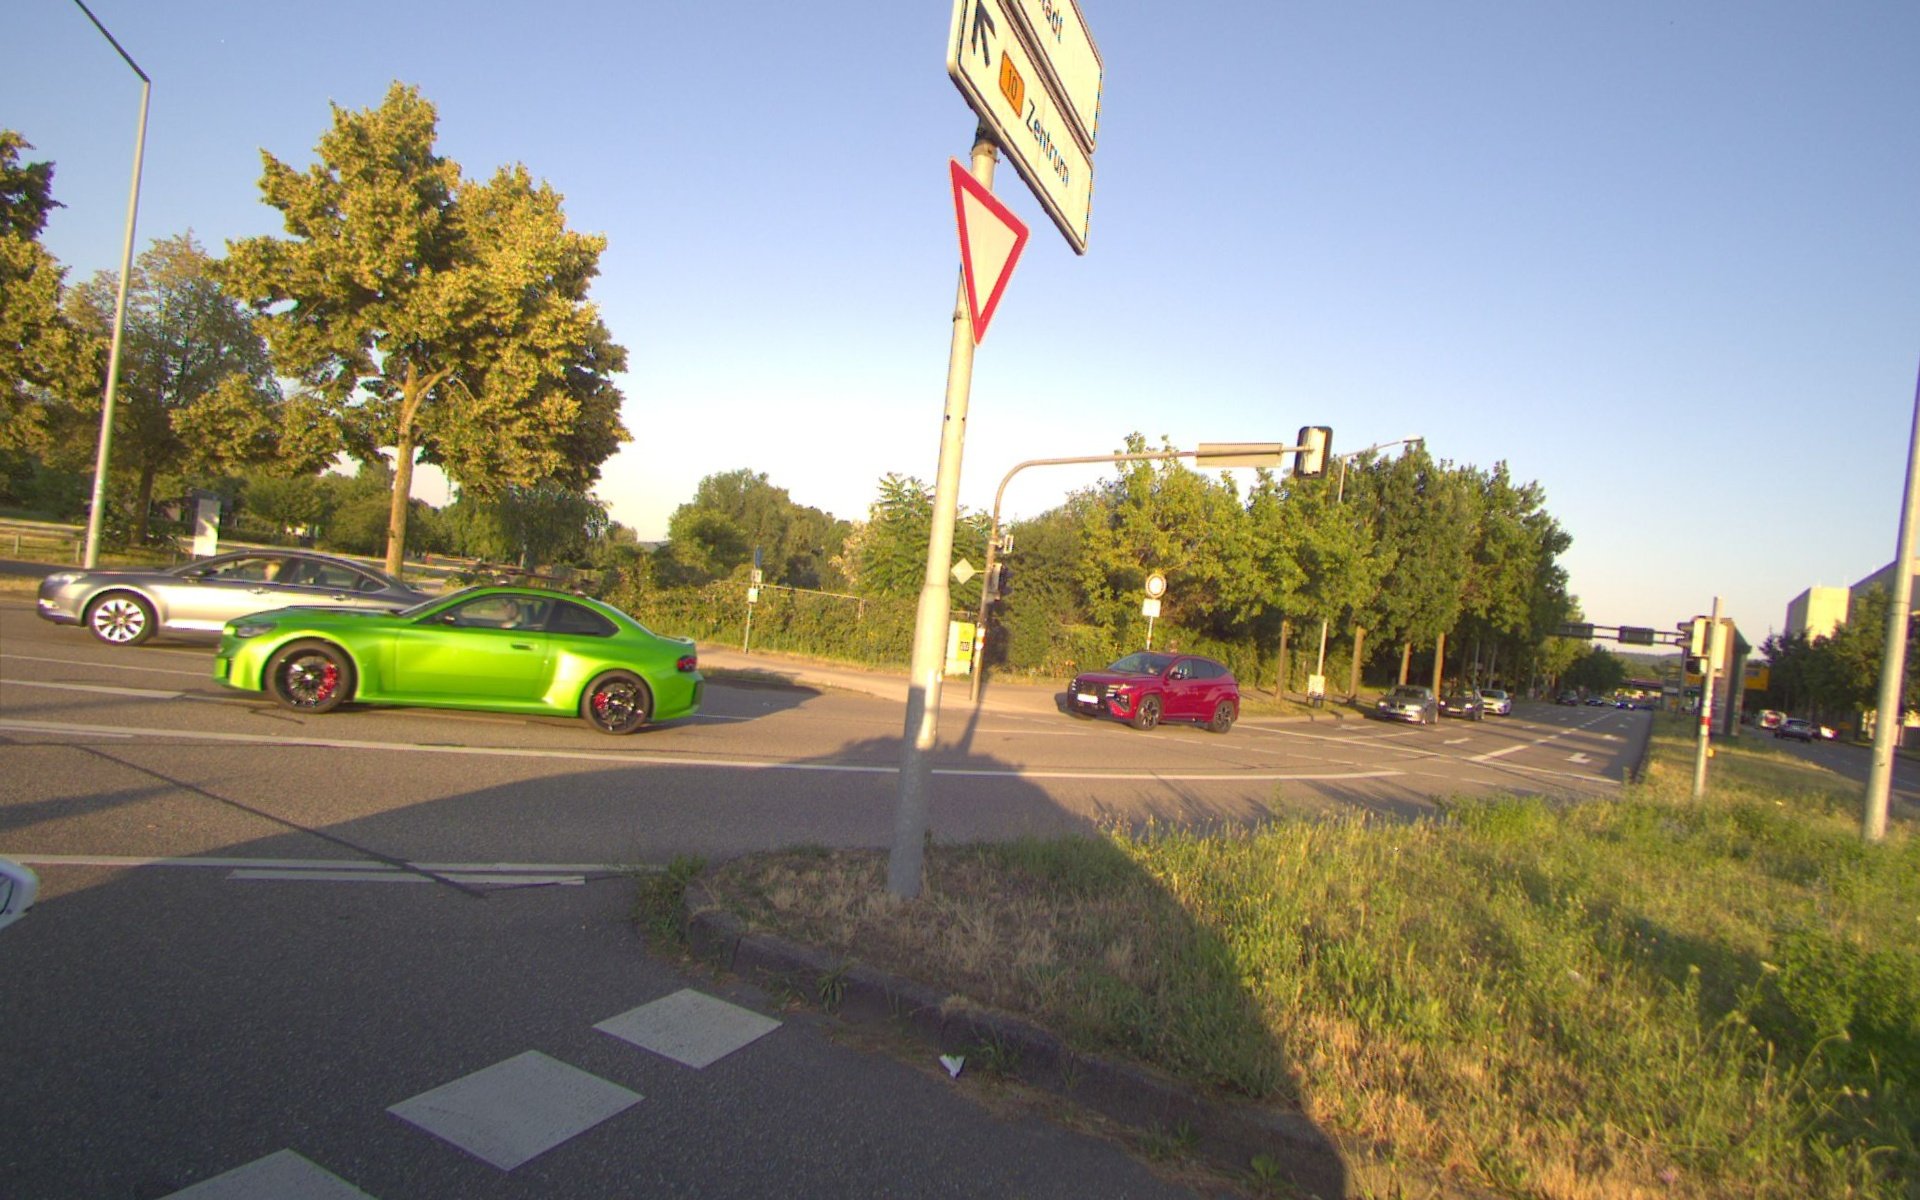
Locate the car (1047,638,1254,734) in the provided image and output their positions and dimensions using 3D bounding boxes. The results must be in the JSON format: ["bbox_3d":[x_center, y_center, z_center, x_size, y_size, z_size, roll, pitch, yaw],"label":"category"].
[{"bbox_3d":[4.156,1.886,21.566,4.385,1.592,1.977,8,-1,-41],"label":"car"}]

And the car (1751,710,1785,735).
[{"bbox_3d":[76.807,11.608,95.707,2.036,1.970,4.946,7,-1,36],"label":"car"}]

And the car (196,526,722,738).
[{"bbox_3d":[-5.030,0.380,10.640,4.433,1.598,1.987,8,-1,-27],"label":"car"}]

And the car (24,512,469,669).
[{"bbox_3d":[-9.504,-0.070,13.953,4.609,1.481,1.877,7,-1,-23],"label":"car"}]

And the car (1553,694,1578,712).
[{"bbox_3d":[62.837,10.697,104.329,1.885,1.602,4.170,7,-1,34],"label":"car"}]

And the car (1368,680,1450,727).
[{"bbox_3d":[17.069,3.915,38.139,1.839,1.407,4.149,8,0,36],"label":"car"}]

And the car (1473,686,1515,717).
[{"bbox_3d":[30.585,5.764,57.572,1.836,1.471,3.965,7,-1,30],"label":"car"}]

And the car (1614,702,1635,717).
[{"bbox_3d":[85.298,14.036,129.177,1.969,1.523,4.758,7,-1,35],"label":"car"}]

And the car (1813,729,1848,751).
[{"bbox_3d":[72.065,11.591,83.282,1.972,1.444,4.179,7,-1,42],"label":"car"}]

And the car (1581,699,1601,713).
[{"bbox_3d":[82.716,13.946,131.922,1.967,1.523,4.612,6,-1,32],"label":"car"}]

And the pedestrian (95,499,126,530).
[{"bbox_3d":[-50.069,-5.031,59.266,0.896,1.637,1.070,7,0,34],"label":"pedestrian"}]

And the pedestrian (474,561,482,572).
[{"bbox_3d":[-80.916,-5.596,169.034,0.841,1.681,0.976,7,0,-14],"label":"pedestrian"}]

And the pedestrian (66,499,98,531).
[{"bbox_3d":[-51.605,-4.991,59.133,0.896,1.637,1.070,7,0,34],"label":"pedestrian"}]

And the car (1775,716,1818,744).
[{"bbox_3d":[59.686,9.241,71.840,1.969,1.648,3.988,7,-1,36],"label":"car"}]

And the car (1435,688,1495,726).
[{"bbox_3d":[23.922,5.036,47.578,1.838,1.471,4.152,7,-1,35],"label":"car"}]
